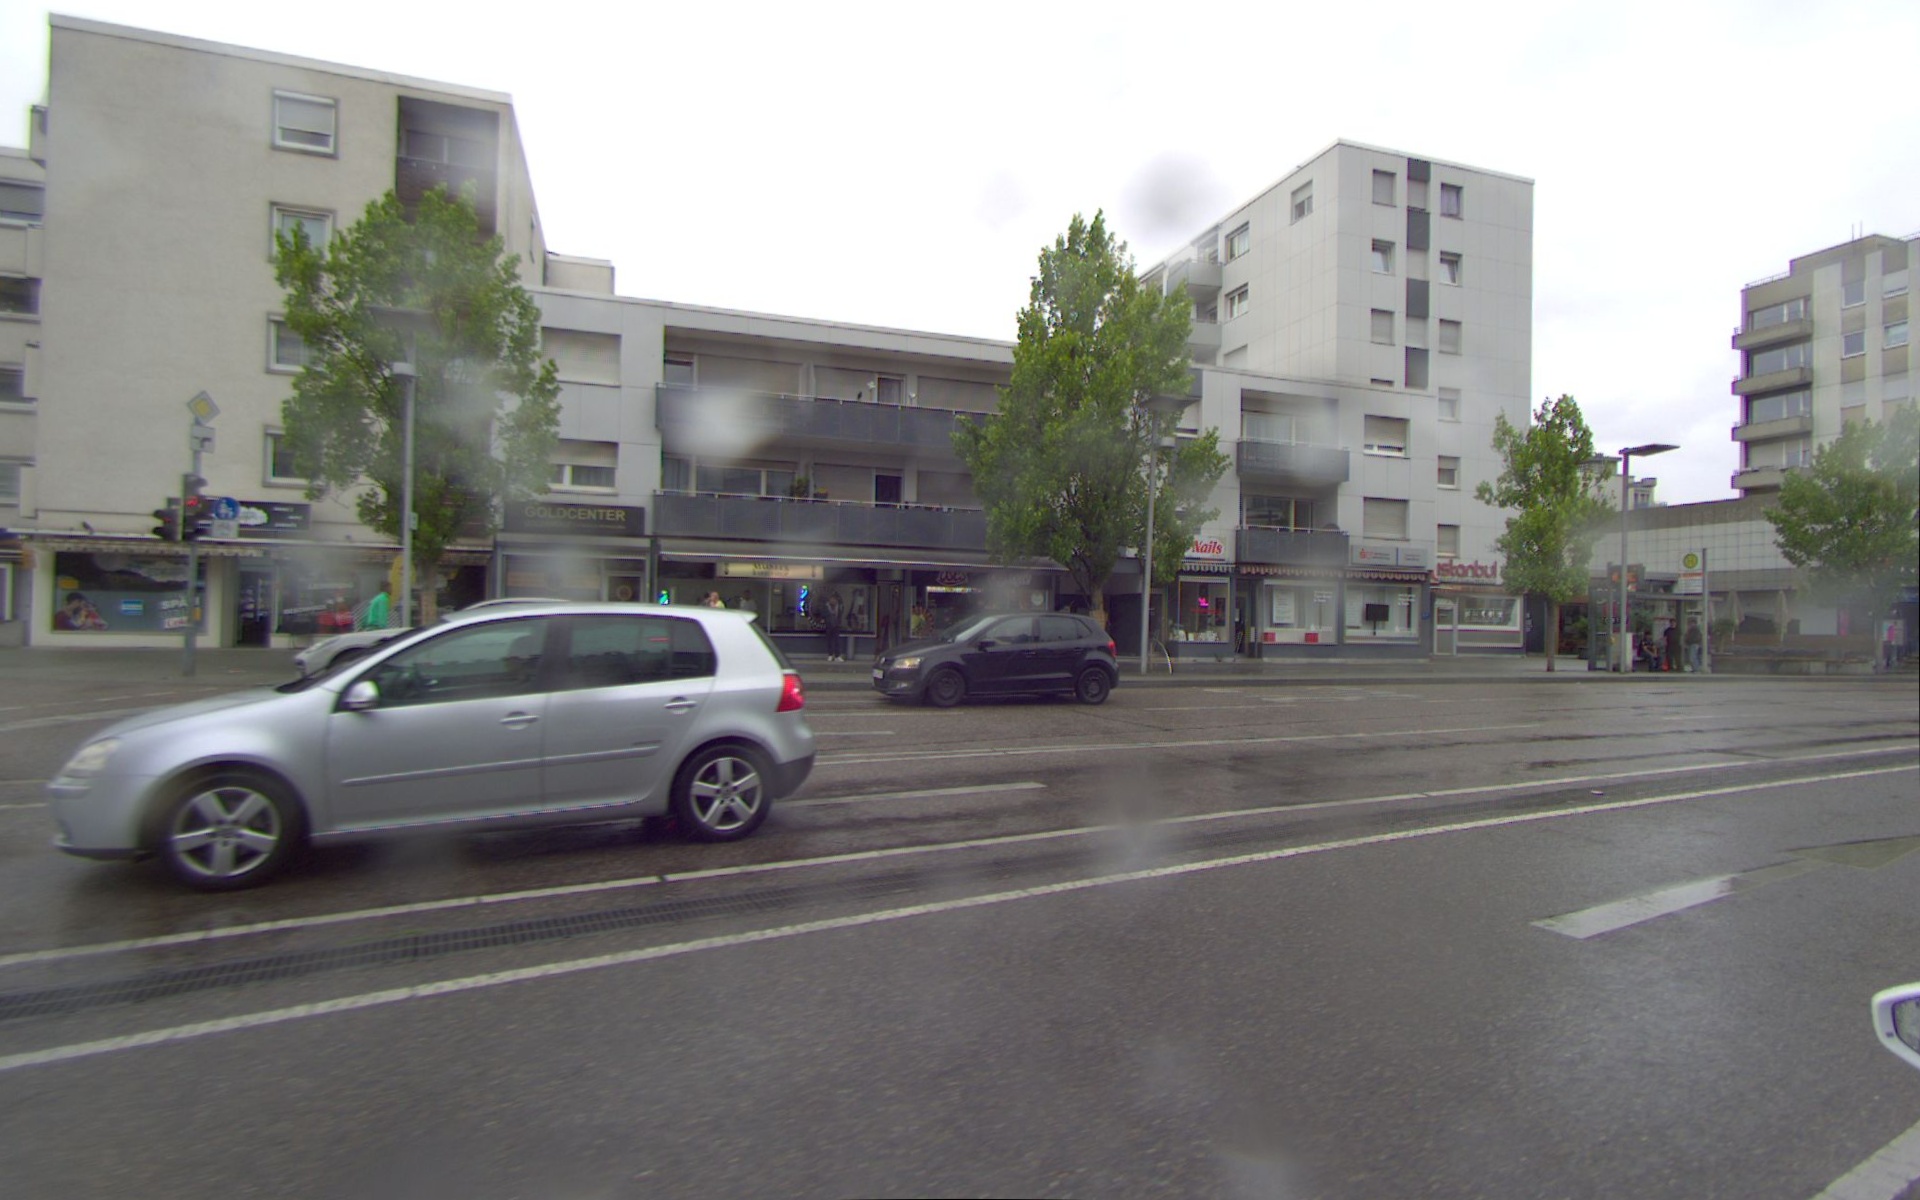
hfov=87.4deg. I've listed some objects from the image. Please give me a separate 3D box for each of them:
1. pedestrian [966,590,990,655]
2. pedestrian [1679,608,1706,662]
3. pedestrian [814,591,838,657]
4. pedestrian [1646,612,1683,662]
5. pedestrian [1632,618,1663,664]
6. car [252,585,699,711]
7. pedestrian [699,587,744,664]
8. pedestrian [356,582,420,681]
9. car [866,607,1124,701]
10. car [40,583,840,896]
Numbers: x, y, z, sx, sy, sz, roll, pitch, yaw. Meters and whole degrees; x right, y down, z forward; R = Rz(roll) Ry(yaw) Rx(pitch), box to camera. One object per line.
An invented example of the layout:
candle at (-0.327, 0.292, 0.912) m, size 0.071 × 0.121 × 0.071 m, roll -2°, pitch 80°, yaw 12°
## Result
pedestrian at (0.502, 0.628, 28.481) m, size 0.483 × 1.817 × 0.566 m, roll 2°, pitch -1°, yaw -15°
pedestrian at (23.727, 1.126, 32.529) m, size 0.530 × 1.741 × 0.485 m, roll 1°, pitch 0°, yaw -24°
pedestrian at (-3.625, 0.655, 27.184) m, size 0.493 × 1.747 × 0.447 m, roll 2°, pitch -1°, yaw -23°
pedestrian at (23.167, 1.213, 33.051) m, size 0.628 × 1.592 × 0.791 m, roll 1°, pitch 0°, yaw -28°
pedestrian at (22.366, 1.322, 32.681) m, size 0.628 × 1.490 × 0.631 m, roll 1°, pitch 0°, yaw -28°
car at (-6.252, 0.625, 13.671) m, size 5.055 × 1.433 × 2.119 m, roll 2°, pitch 0°, yaw -11°
pedestrian at (-5.834, 0.627, 24.536) m, size 0.911 × 1.835 × 0.870 m, roll 2°, pitch -1°, yaw -21°
pedestrian at (-9.838, 0.543, 17.311) m, size 0.797 × 1.645 × 0.947 m, roll 2°, pitch -1°, yaw -22°
car at (0.543, 0.802, 15.505) m, size 3.722 × 1.314 × 1.432 m, roll 1°, pitch 0°, yaw -22°
car at (-2.907, 0.656, 6.355) m, size 3.940 × 1.460 × 1.735 m, roll 0°, pitch 0°, yaw -27°
